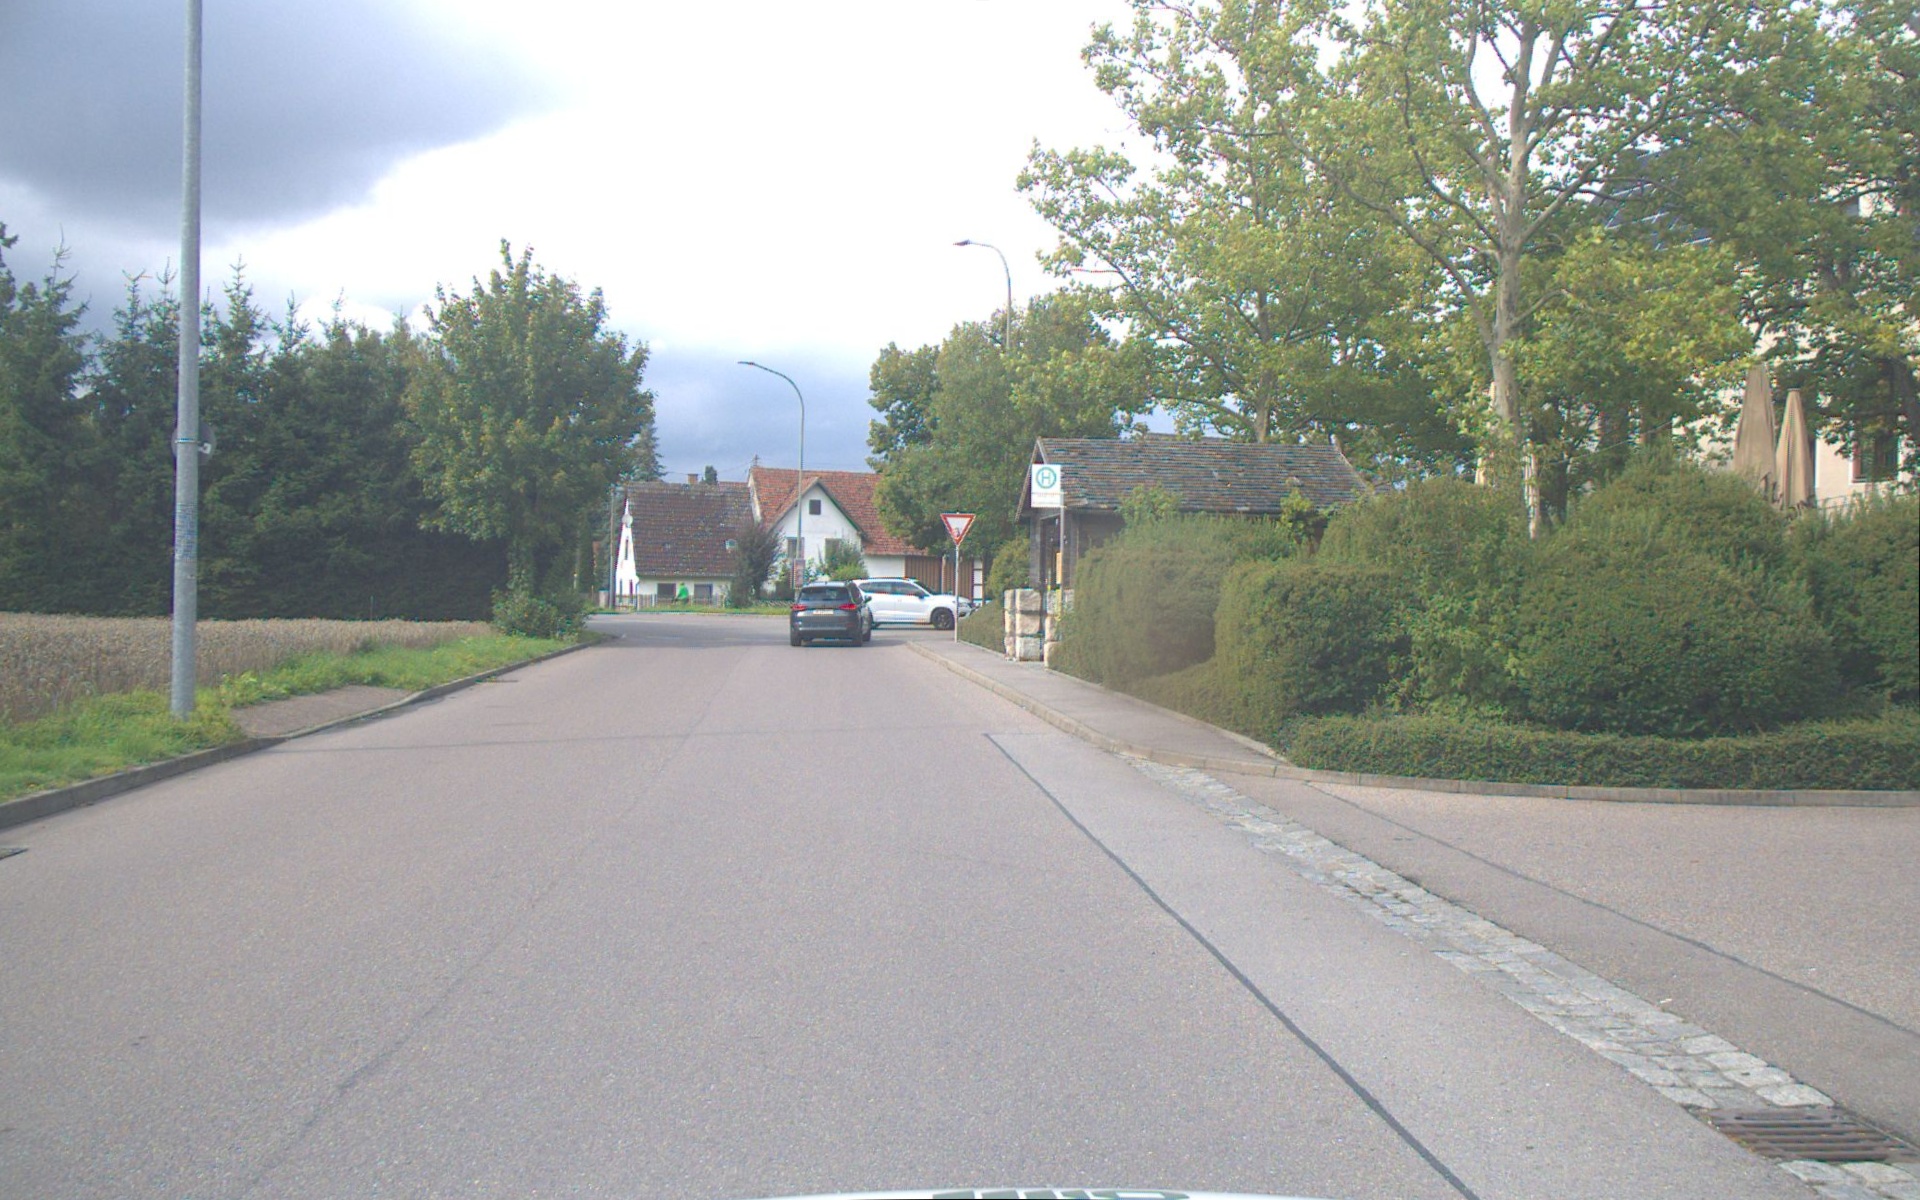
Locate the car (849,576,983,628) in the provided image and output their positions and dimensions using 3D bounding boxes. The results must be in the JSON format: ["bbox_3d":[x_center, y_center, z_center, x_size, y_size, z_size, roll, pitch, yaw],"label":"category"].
[{"bbox_3d":[-1.376,0.059,52.323,3.892,1.542,1.806,1,0,12],"label":"car"}]

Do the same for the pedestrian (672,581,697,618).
[{"bbox_3d":[-12.967,-0.035,77.879,0.783,1.694,0.702,6,-3,-38],"label":"pedestrian"}]

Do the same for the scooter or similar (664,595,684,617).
[{"bbox_3d":[-13.542,0.283,78.311,0.626,0.964,0.614,6,-3,-38],"label":"scooter or similar"}]

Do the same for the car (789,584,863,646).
[{"bbox_3d":[-3.373,0.335,41.682,1.763,1.488,3.658,0,1,-5],"label":"car"}]
